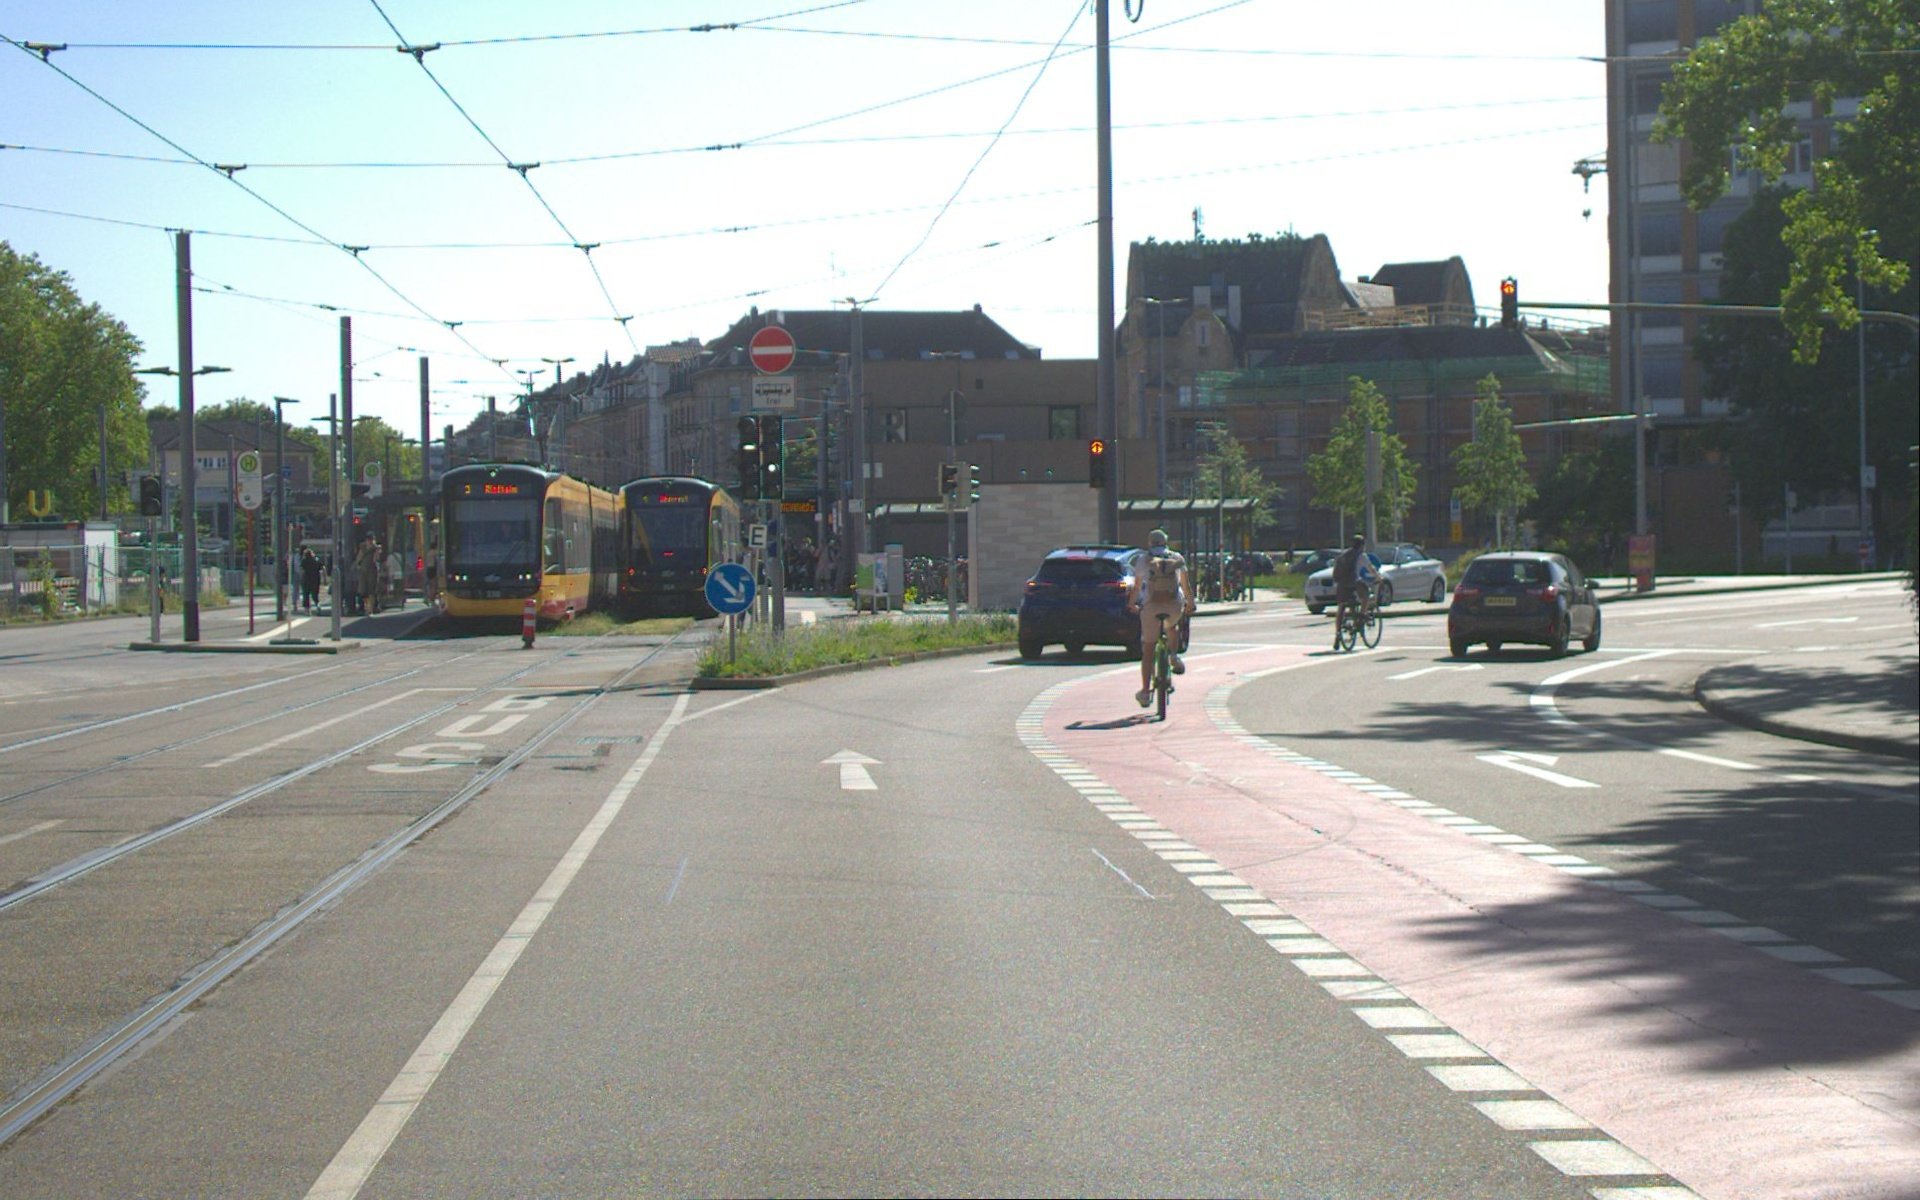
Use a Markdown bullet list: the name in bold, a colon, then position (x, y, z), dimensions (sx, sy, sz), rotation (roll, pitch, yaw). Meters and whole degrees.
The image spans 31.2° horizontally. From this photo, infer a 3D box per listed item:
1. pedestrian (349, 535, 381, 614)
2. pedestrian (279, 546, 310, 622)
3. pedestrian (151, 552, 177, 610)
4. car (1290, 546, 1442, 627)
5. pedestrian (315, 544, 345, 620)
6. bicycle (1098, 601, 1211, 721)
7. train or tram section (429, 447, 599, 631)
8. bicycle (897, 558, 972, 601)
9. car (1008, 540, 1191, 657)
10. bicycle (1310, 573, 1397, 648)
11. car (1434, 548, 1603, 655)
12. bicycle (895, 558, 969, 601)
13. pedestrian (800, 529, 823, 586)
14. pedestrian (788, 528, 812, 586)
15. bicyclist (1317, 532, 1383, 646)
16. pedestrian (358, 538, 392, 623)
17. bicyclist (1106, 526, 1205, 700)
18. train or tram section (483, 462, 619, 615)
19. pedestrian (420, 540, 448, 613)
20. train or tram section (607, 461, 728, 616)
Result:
- **pedestrian**: position (-13.824, -0.594, 79.886), dimensions (0.626, 1.821, 0.662), rotation (-1, 1, -4)
- **pedestrian**: position (-16.101, -0.391, 83.204), dimensions (0.626, 1.821, 0.662), rotation (-1, 1, -4)
- **pedestrian**: position (-23.612, -0.564, 101.977), dimensions (0.626, 1.691, 0.662), rotation (-1, 1, -4)
- **car**: position (8.508, -0.309, 71.817), dimensions (1.704, 1.638, 3.706), rotation (1, 1, 33)
- **pedestrian**: position (-15.169, -0.440, 82.786), dimensions (0.626, 1.821, 0.662), rotation (-1, 1, -4)
- **bicycle**: position (1.921, 0.579, 33.723), dimensions (0.705, 1.101, 1.716), rotation (1, 1, 17)
- **train or tram section**: position (-9.643, -1.360, 75.709), dimensions (2.741, 3.639, 13.788), rotation (-1, 1, -3)
- **bicycle**: position (-0.684, -0.545, 91.252), dimensions (1.933, 1.099, 0.599), rotation (-1, 1, -5)
- **car**: position (2.049, -0.058, 49.454), dimensions (1.790, 1.599, 3.710), rotation (1, 1, 16)
- **bicycle**: position (6.014, 0.148, 52.460), dimensions (0.705, 1.051, 2.311), rotation (2, 2, 22)
- **car**: position (8.313, -0.012, 50.924), dimensions (1.791, 1.506, 3.709), rotation (1, 1, 20)
- **bicycle**: position (-0.744, -0.551, 92.020), dimensions (1.933, 1.099, 0.599), rotation (-1, 1, -5)
- **pedestrian**: position (-5.113, -1.460, 118.332), dimensions (0.660, 1.946, 0.629), rotation (-1, 1, -14)
- **pedestrian**: position (-5.409, -1.440, 116.220), dimensions (0.660, 1.946, 0.629), rotation (-1, 1, -14)
- **bicyclist**: position (5.926, -0.174, 52.217), dimensions (0.705, 1.694, 0.986), rotation (2, 2, 22)
- **pedestrian**: position (-12.751, -0.430, 74.939), dimensions (0.626, 1.821, 0.662), rotation (-1, 1, -4)
- **bicyclist**: position (1.926, 0.112, 33.714), dimensions (0.705, 1.669, 1.100), rotation (1, 1, 17)
- **train or tram section**: position (-10.442, -1.611, 88.869), dimensions (2.742, 3.639, 12.546), rotation (-1, 1, -3)
- **pedestrian**: position (-13.304, -0.589, 86.976), dimensions (0.626, 1.821, 0.662), rotation (-1, 1, -4)
- **train or tram section**: position (-7.416, -1.600, 88.613), dimensions (2.741, 3.639, 13.788), rotation (-1, 1, -3)
